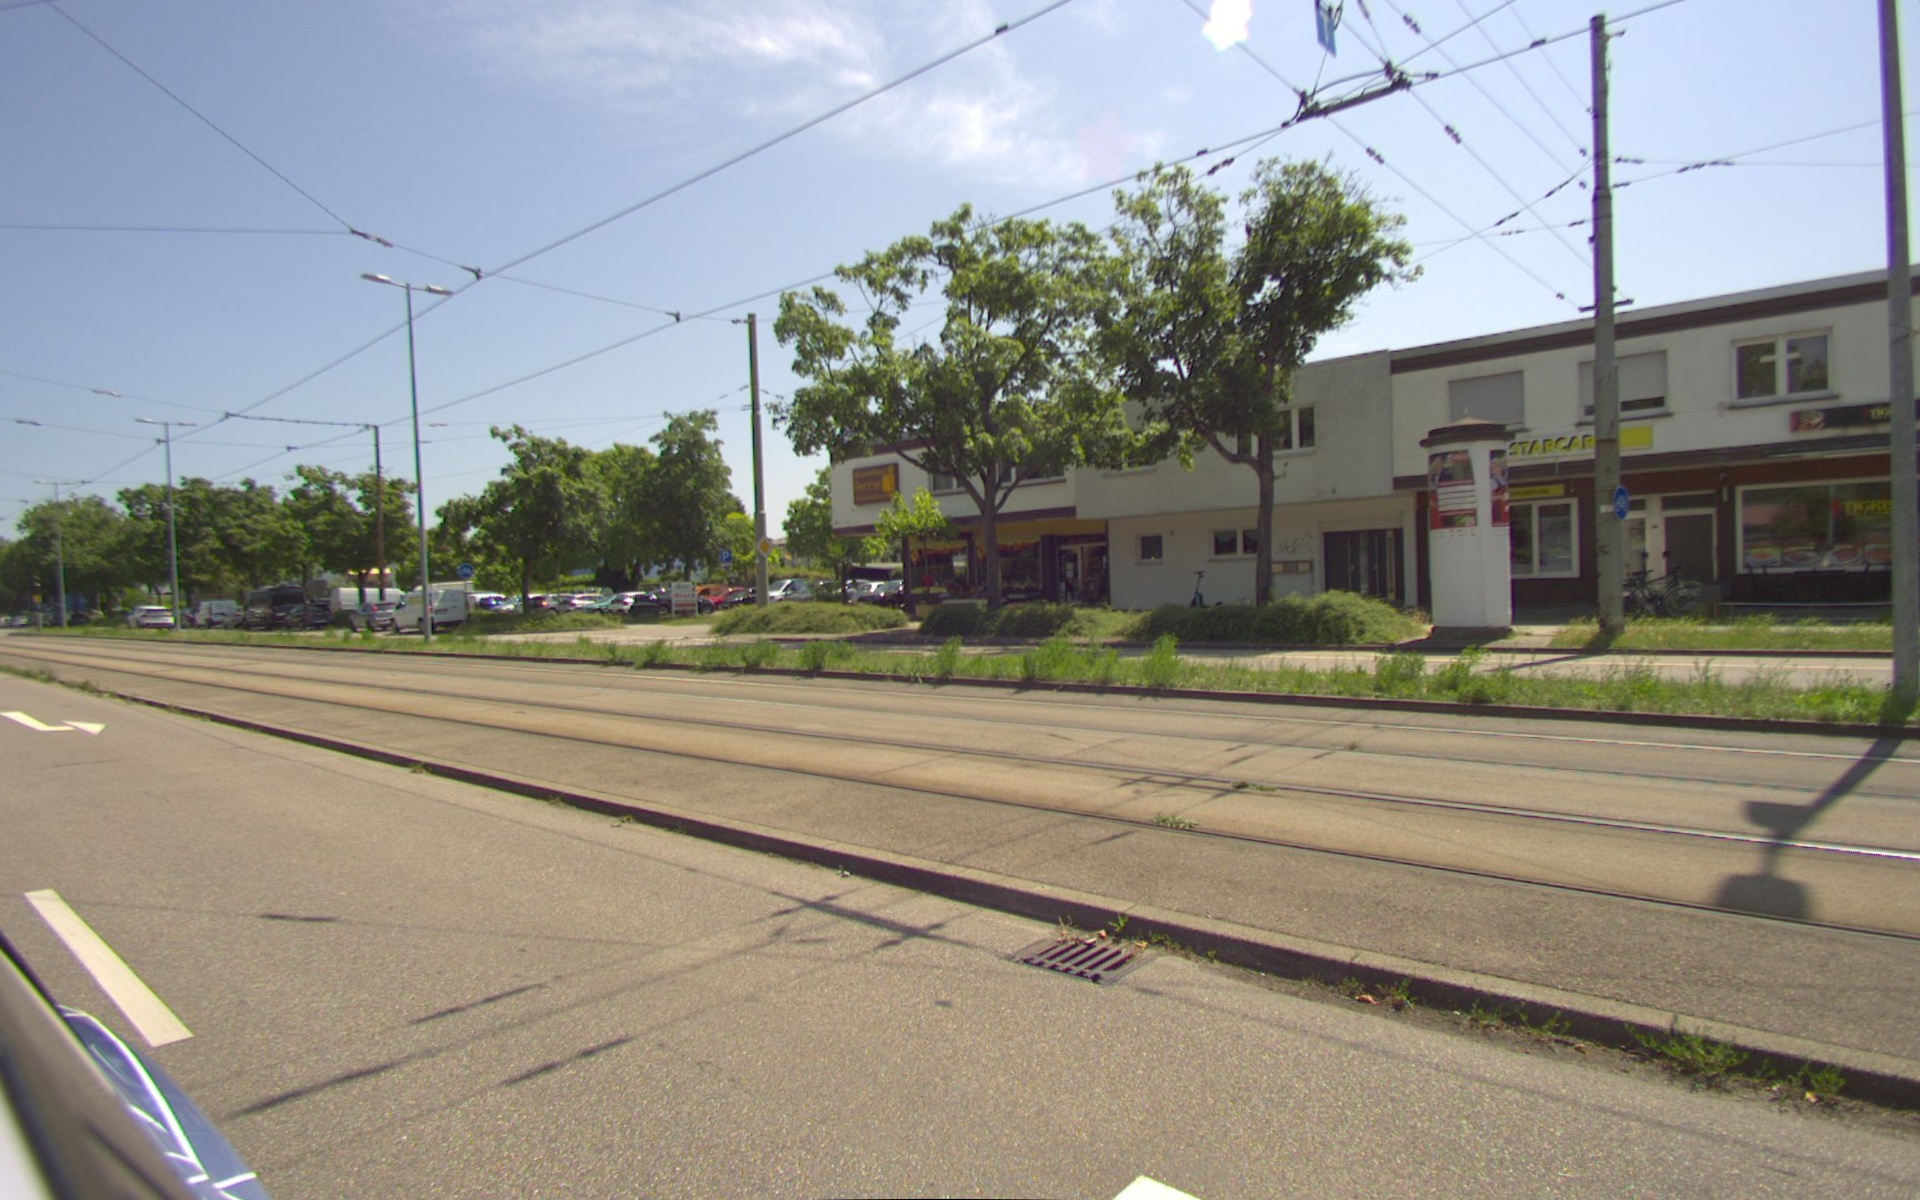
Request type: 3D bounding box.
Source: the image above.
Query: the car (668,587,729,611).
[{"bbox_3d":[-18.643,-0.093,72.211,1.689,1.665,4.082,-1,0,35],"label":"car"}]

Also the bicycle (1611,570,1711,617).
[{"bbox_3d":[15.346,-0.136,22.191,1.758,0.986,0.533,0,0,41],"label":"bicycle"}]

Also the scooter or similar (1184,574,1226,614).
[{"bbox_3d":[7.477,-0.175,30.941,0.448,1.200,1.349,-1,0,-29],"label":"scooter or similar"}]

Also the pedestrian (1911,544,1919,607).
[{"bbox_3d":[19.792,-0.501,20.409,0.842,1.278,0.583,0,0,41],"label":"pedestrian"}]

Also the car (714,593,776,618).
[{"bbox_3d":[-14.581,0.364,68.855,1.683,1.597,3.948,0,0,39],"label":"car"}]

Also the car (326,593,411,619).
[{"bbox_3d":[-45.846,0.432,78.491,2.029,1.970,5.363,0,0,42],"label":"car"}]

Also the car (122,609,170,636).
[{"bbox_3d":[-52.092,1.420,64.720,4.569,1.622,1.705,0,0,42],"label":"car"}]

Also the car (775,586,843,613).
[{"bbox_3d":[-9.494,-0.049,63.767,1.804,1.669,3.943,0,0,43],"label":"car"}]

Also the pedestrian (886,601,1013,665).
[{"bbox_3d":[-0.394,1.066,34.357,3.997,2.029,1.973,0,0,40],"label":"pedestrian"}]

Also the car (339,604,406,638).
[{"bbox_3d":[-29.581,1.022,50.889,4.124,1.513,1.633,-1,4,42],"label":"car"}]

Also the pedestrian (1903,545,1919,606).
[{"bbox_3d":[20.205,-0.514,21.052,0.842,1.278,0.583,0,0,41],"label":"pedestrian"}]

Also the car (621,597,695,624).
[{"bbox_3d":[-15.581,0.525,52.392,1.639,1.241,3.386,-1,1,34],"label":"car"}]

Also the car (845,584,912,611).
[{"bbox_3d":[-4.870,-0.150,60.634,1.661,1.531,3.943,0,0,43],"label":"car"}]

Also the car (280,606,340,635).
[{"bbox_3d":[-36.788,1.132,57.253,3.751,1.589,1.950,0,0,42],"label":"car"}]

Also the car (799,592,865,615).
[{"bbox_3d":[-7.769,0.201,61.615,1.764,1.294,3.675,0,0,43],"label":"car"}]

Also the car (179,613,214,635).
[{"bbox_3d":[-56.093,1.738,74.358,3.261,1.489,1.411,0,0,41],"label":"car"}]

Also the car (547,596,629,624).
[{"bbox_3d":[-21.179,0.565,57.707,1.855,1.501,4.099,0,0,34],"label":"car"}]

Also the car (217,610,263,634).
[{"bbox_3d":[-47.555,1.442,66.829,3.608,1.475,1.744,0,0,42],"label":"car"}]

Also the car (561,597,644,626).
[{"bbox_3d":[-19.647,0.587,55.711,1.908,1.501,3.995,0,0,34],"label":"car"}]

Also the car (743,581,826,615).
[{"bbox_3d":[-11.275,-0.162,65.415,2.225,2.085,5.055,0,0,41],"label":"car"}]

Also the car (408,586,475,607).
[{"bbox_3d":[-52.313,-0.380,102.178,2.145,2.078,5.674,0,0,38],"label":"car"}]

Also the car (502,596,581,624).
[{"bbox_3d":[-25.205,0.587,61.062,1.827,1.501,4.030,-1,1,34],"label":"car"}]

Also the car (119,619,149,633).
[{"bbox_3d":[-73.404,2.269,89.911,3.423,1.167,1.561,0,0,43],"label":"car"}]

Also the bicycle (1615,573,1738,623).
[{"bbox_3d":[14.765,-0.031,20.889,2.028,0.986,0.604,0,0,41],"label":"bicycle"}]

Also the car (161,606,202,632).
[{"bbox_3d":[-59.603,1.424,77.485,4.494,1.907,1.614,0,0,41],"label":"car"}]

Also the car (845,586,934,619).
[{"bbox_3d":[-3.200,0.099,46.373,1.682,1.306,3.944,-2,1,42],"label":"car"}]

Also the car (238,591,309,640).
[{"bbox_3d":[-41.661,0.903,61.354,5.666,2.859,2.214,0,0,42],"label":"car"}]

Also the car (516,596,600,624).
[{"bbox_3d":[-23.331,0.569,58.893,2.018,1.501,4.117,-1,1,34],"label":"car"}]

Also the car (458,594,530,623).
[{"bbox_3d":[-30.729,0.540,66.786,1.794,1.730,3.951,-1,1,37],"label":"car"}]

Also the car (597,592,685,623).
[{"bbox_3d":[-17.153,0.410,54.518,1.983,1.501,4.120,-1,1,39],"label":"car"}]

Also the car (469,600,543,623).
[{"bbox_3d":[-28.998,0.735,64.711,1.794,1.417,3.950,-1,0,37],"label":"car"}]

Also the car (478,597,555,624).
[{"bbox_3d":[-27.318,0.613,62.420,1.862,1.499,3.955,-1,1,34],"label":"car"}]

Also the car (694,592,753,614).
[{"bbox_3d":[-16.596,0.203,71.094,1.712,1.505,3.953,0,0,35],"label":"car"}]

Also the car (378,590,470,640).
[{"bbox_3d":[-24.746,0.689,46.622,5.342,2.025,1.856,-1,4,42],"label":"car"}]

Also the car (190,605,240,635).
[{"bbox_3d":[-51.932,1.367,70.556,4.816,1.963,1.899,0,0,42],"label":"car"}]
